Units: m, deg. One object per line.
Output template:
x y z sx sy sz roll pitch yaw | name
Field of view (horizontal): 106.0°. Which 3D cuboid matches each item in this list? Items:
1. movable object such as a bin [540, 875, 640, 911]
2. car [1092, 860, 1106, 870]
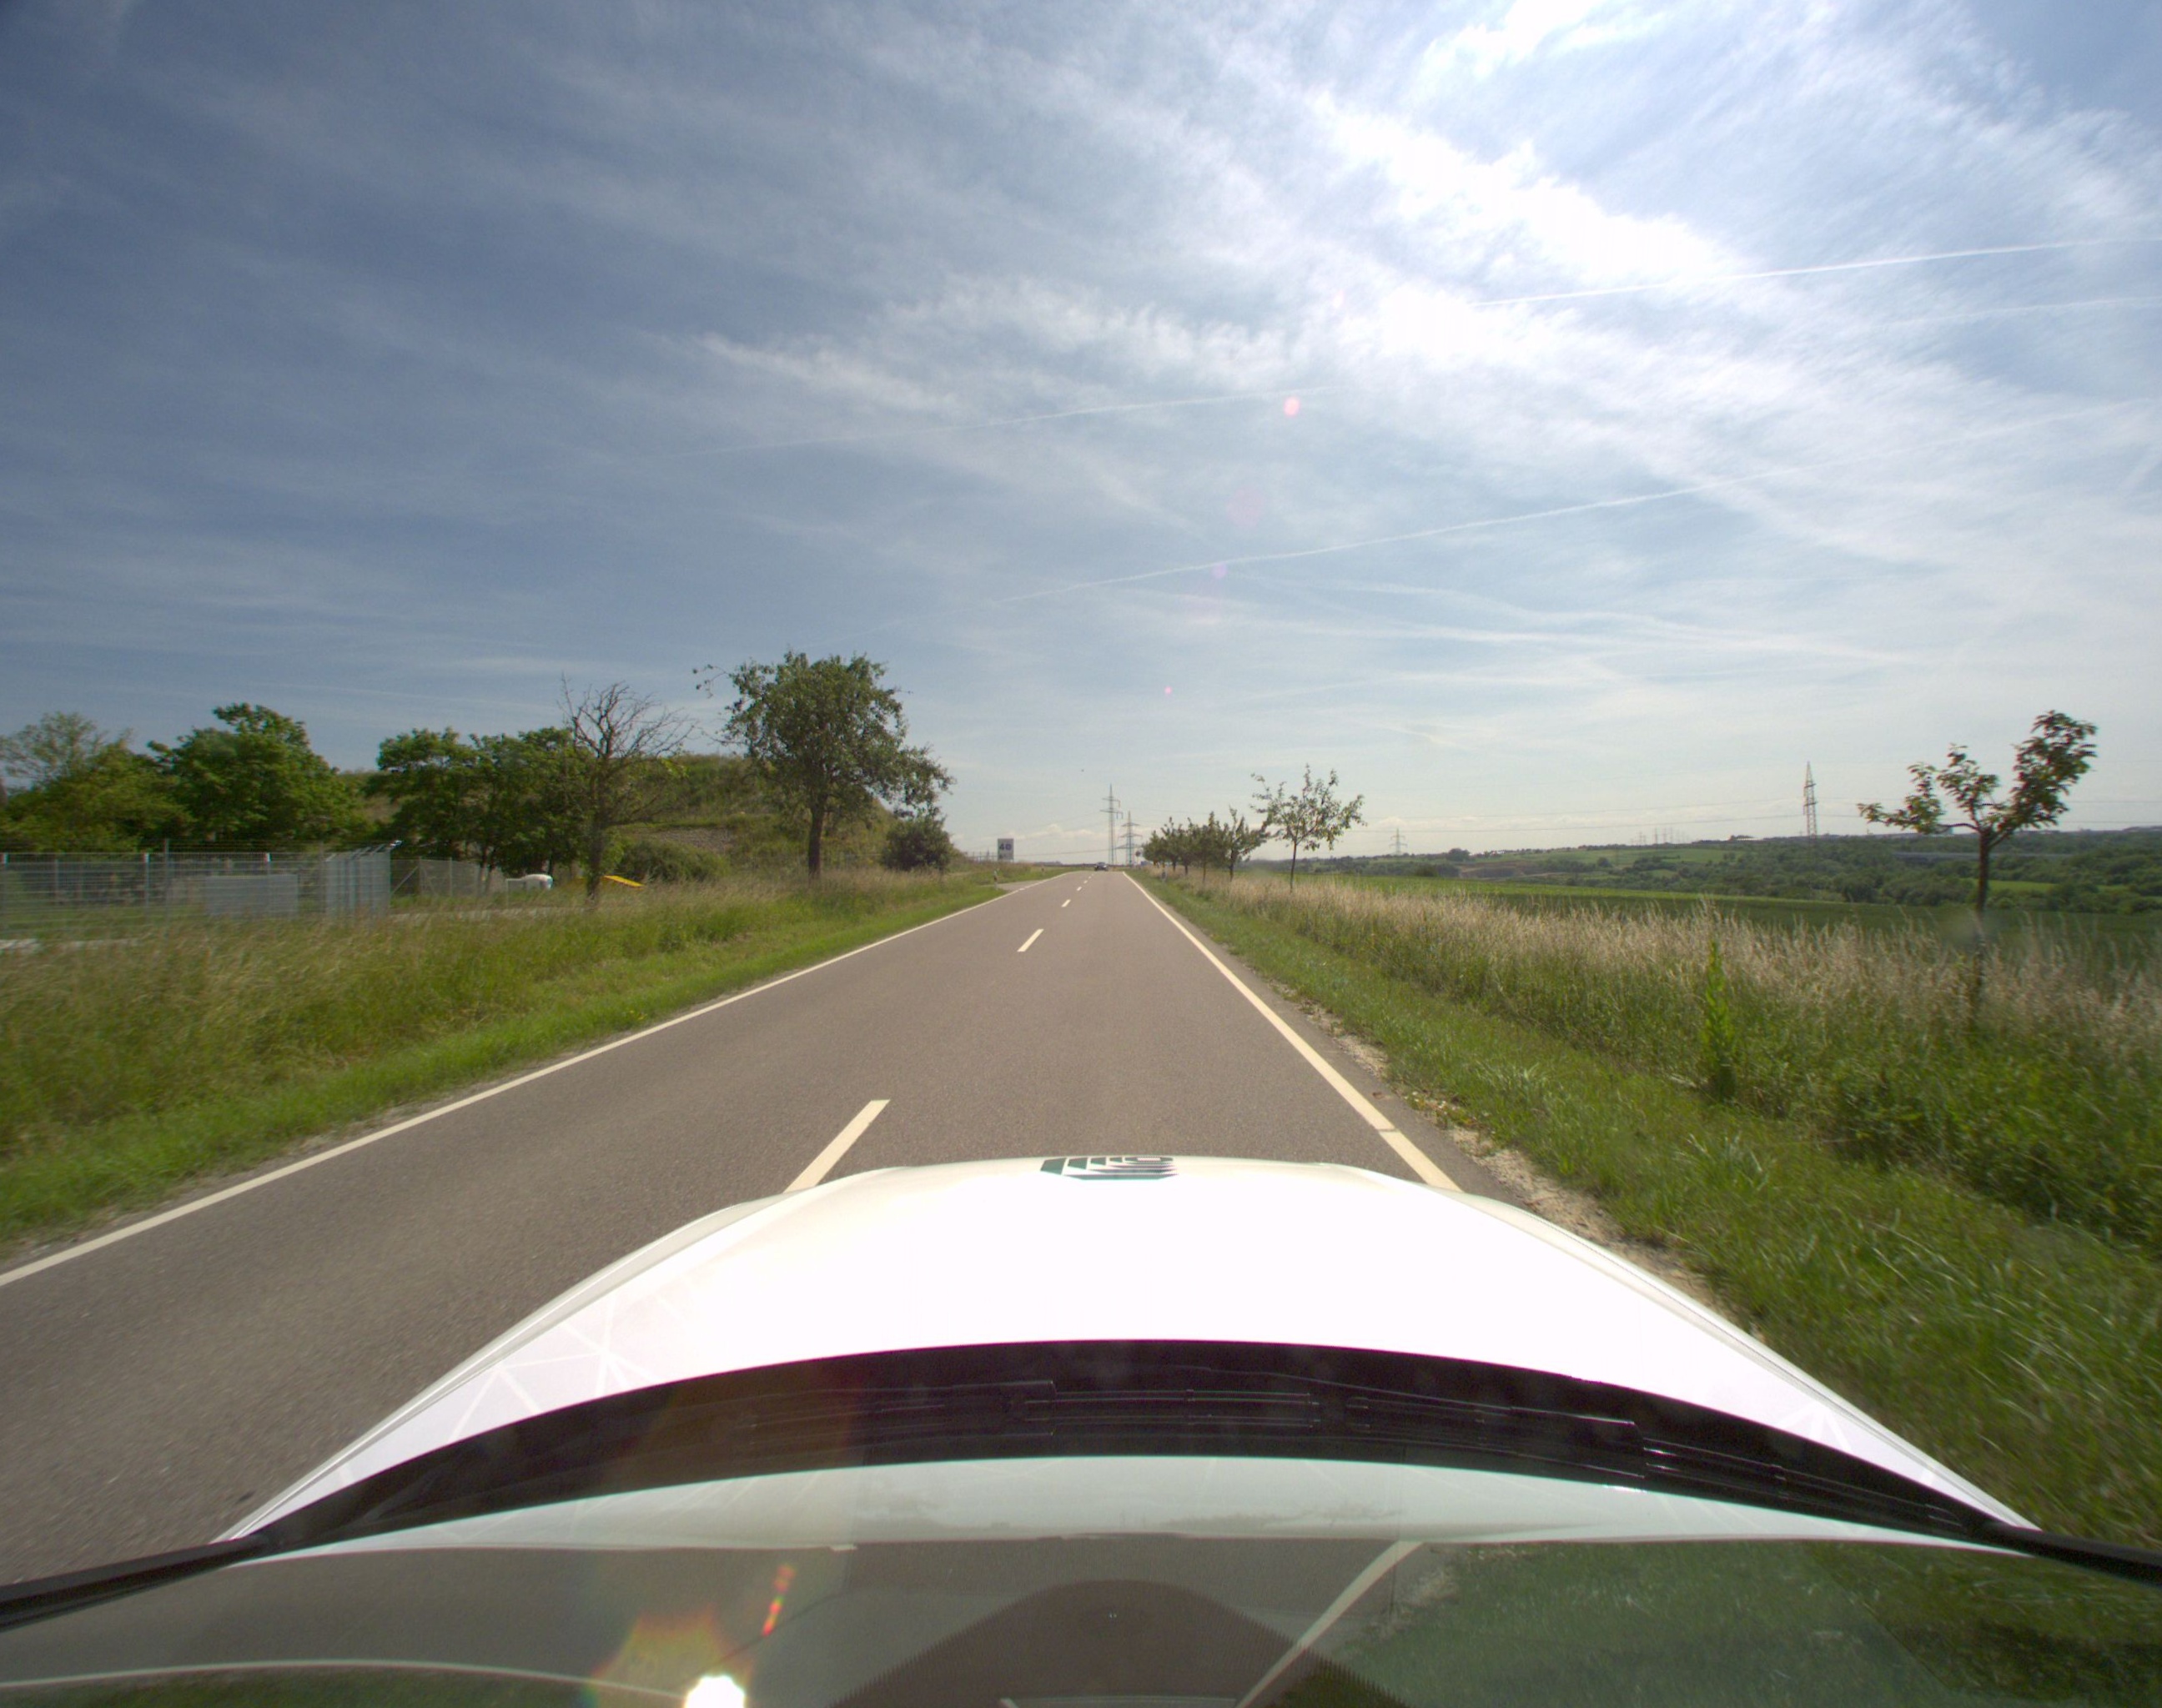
-27.364 2.149 45.543 4.280 1.915 2.164 1 -1 -12 | movable object such as a bin
2.753 1.658 125.926 1.814 1.410 4.006 -1 0 5 | car
